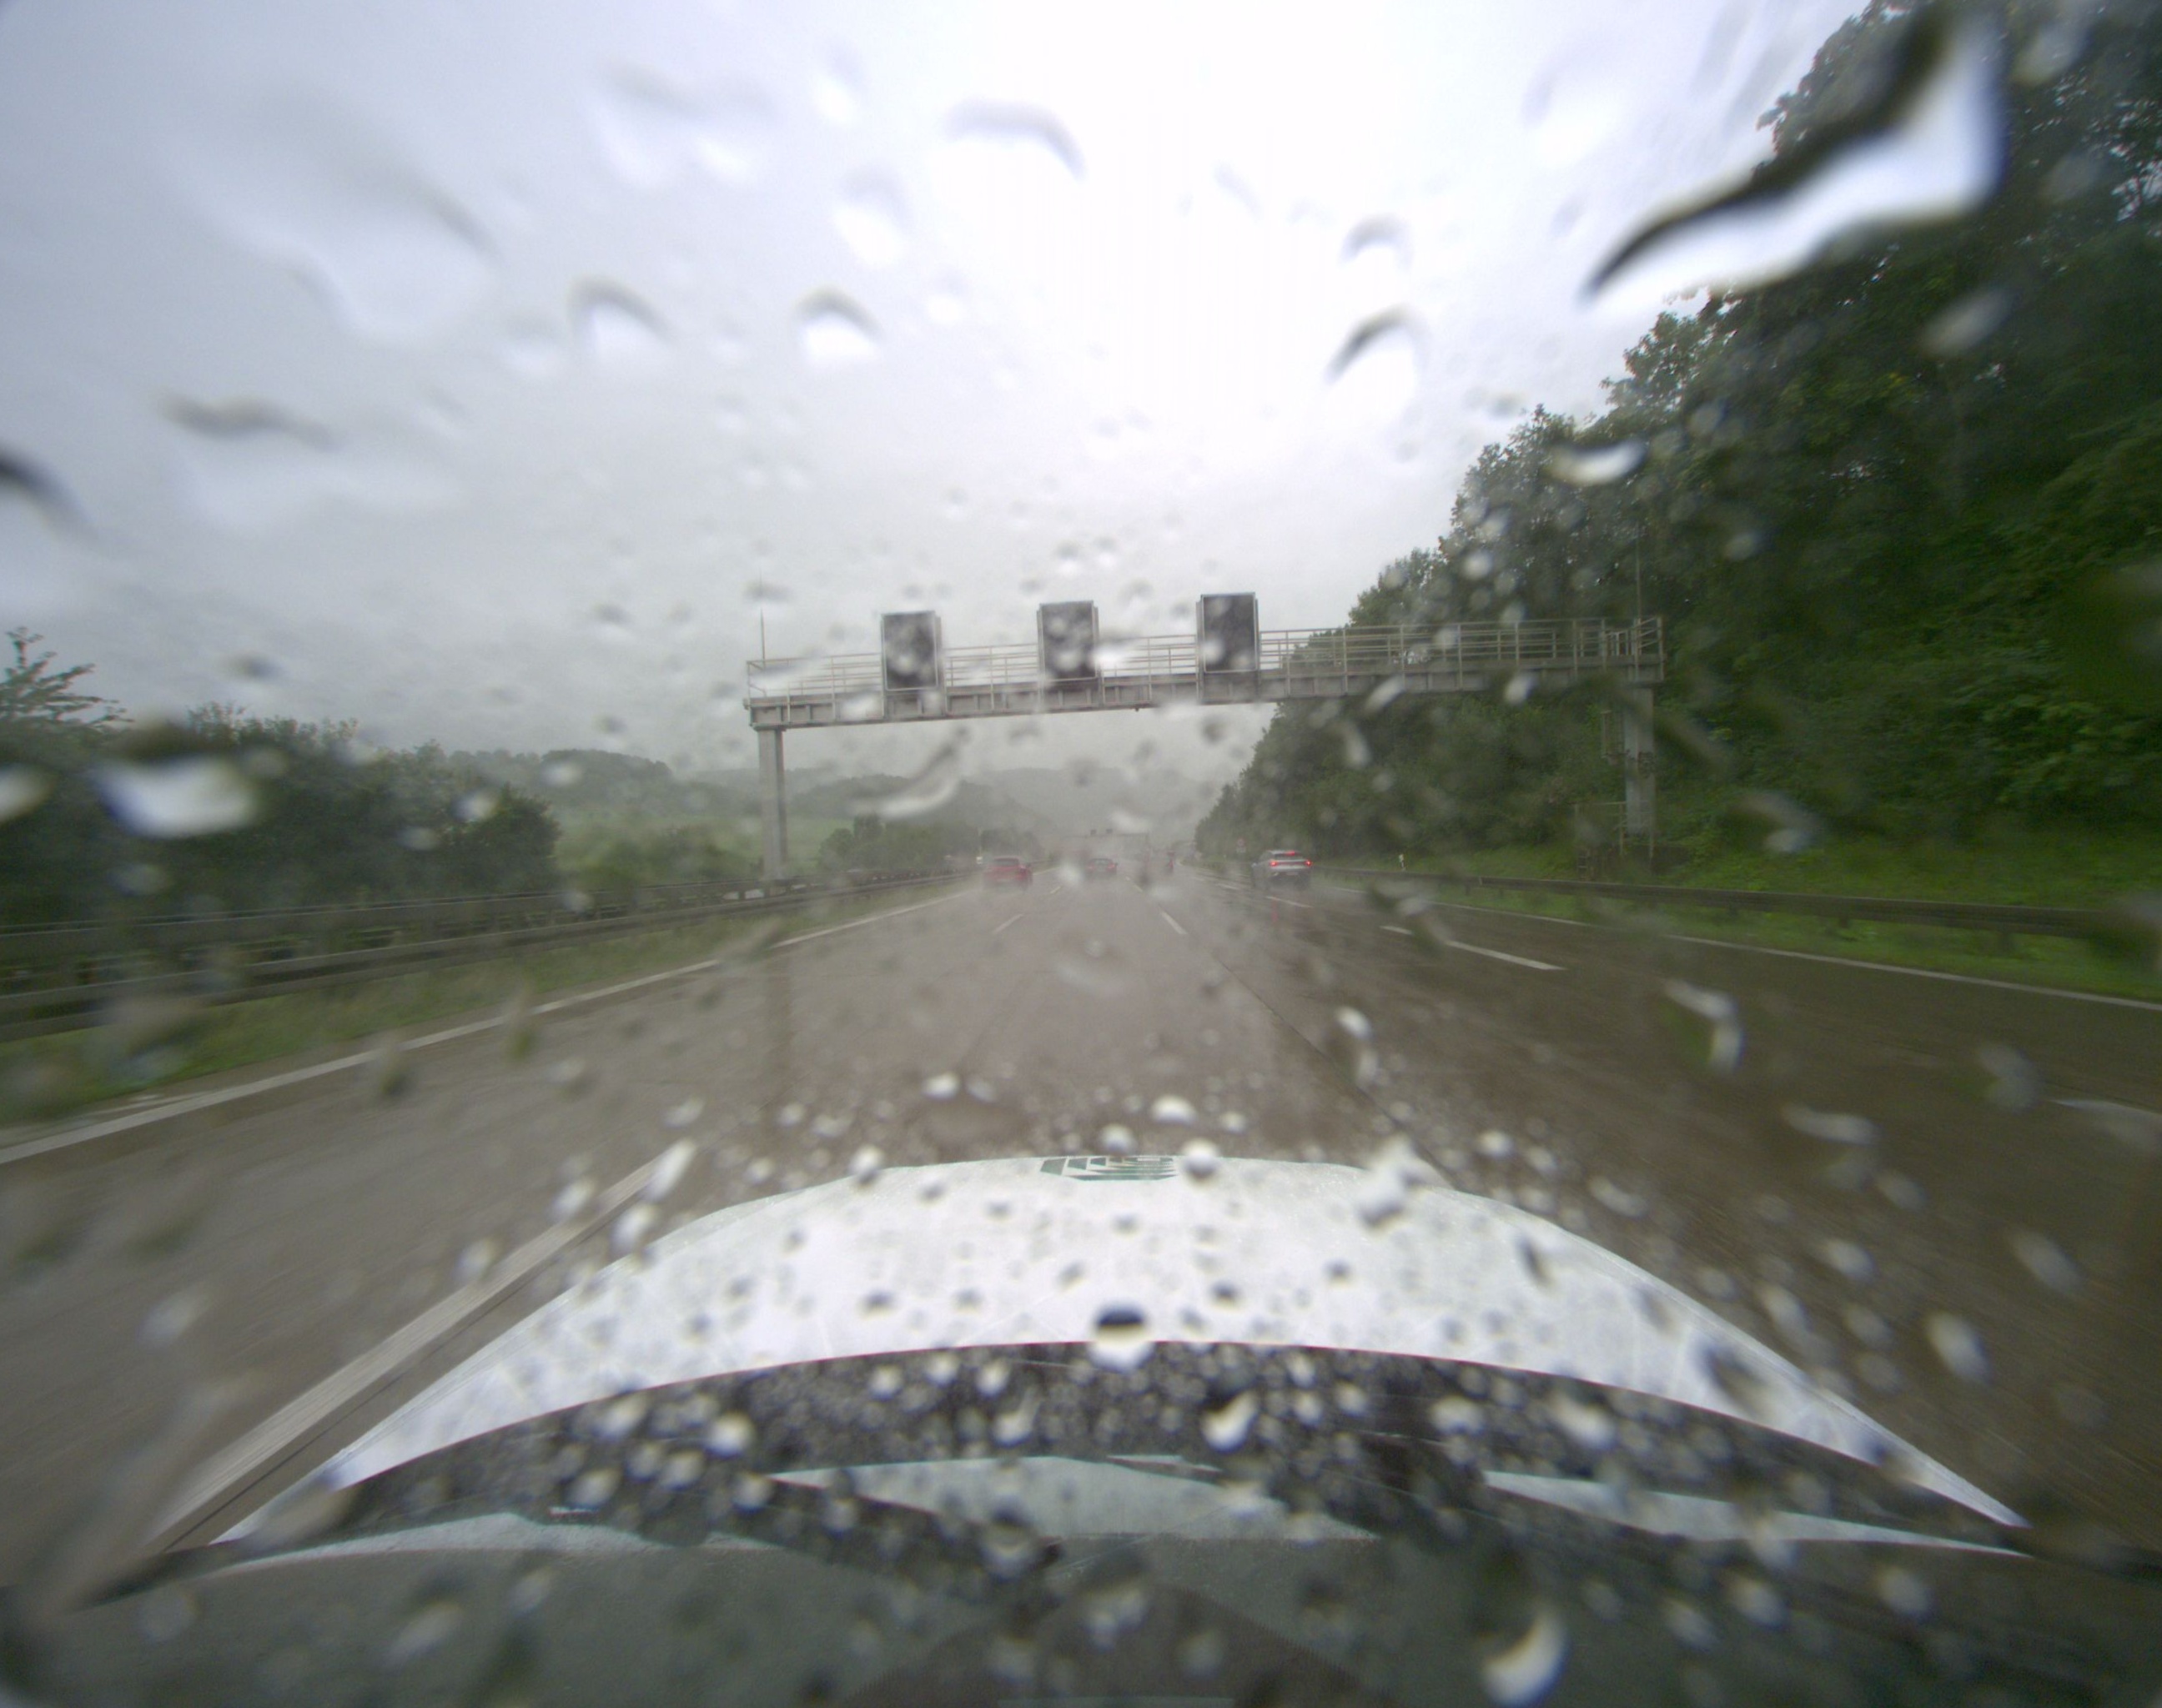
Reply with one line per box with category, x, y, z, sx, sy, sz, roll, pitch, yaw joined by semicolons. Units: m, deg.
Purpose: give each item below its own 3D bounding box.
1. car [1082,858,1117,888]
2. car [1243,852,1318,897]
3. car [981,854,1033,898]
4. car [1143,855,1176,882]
car;1.077;1.021;45.914;1.852;1.589;4.001;-1;0;2
car;8.449;0.842;35.005;1.986;1.750;5.664;-1;0;2
car;-3.262;0.945;36.791;1.878;1.816;4.000;-2;0;1
car;5.388;0.979;56.505;1.964;1.760;4.002;-1;0;2
